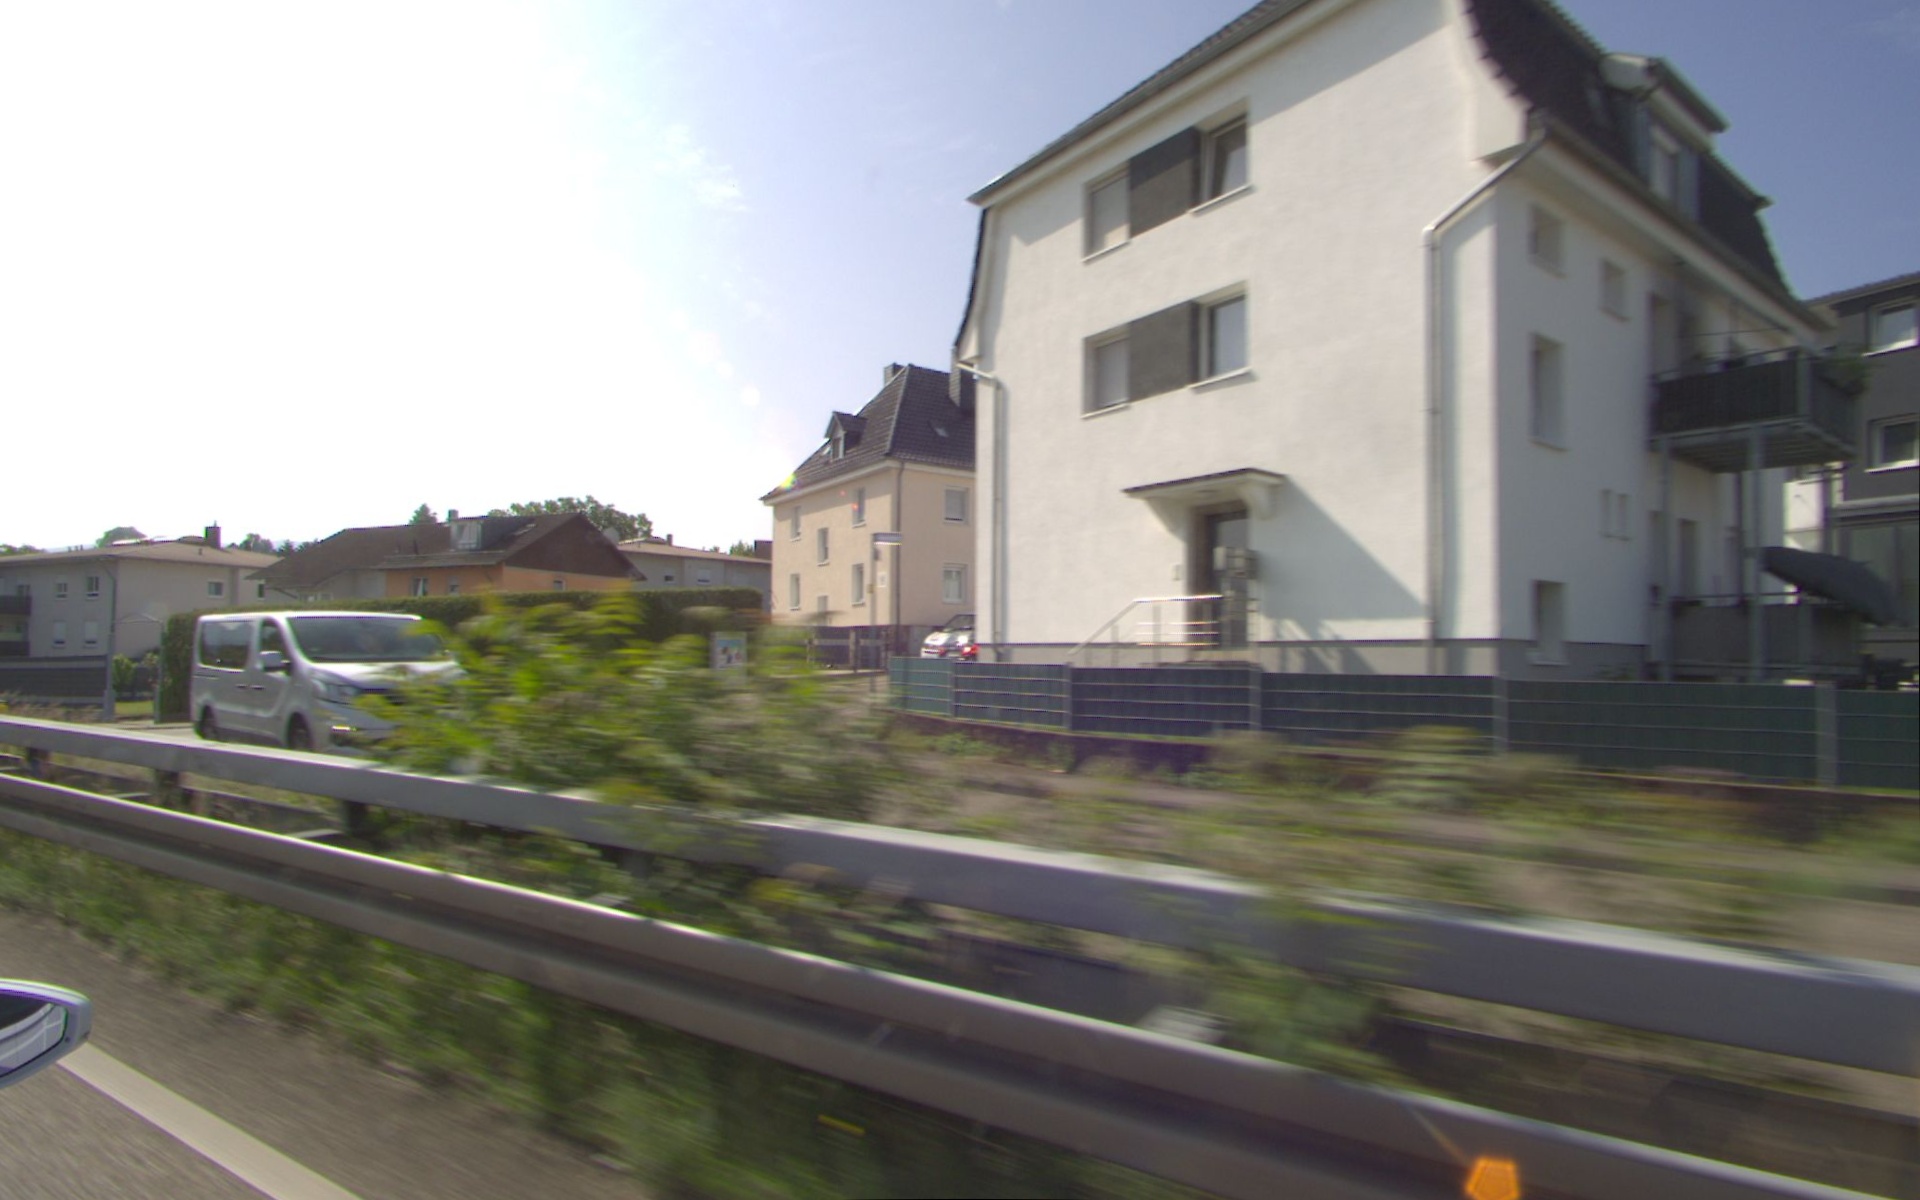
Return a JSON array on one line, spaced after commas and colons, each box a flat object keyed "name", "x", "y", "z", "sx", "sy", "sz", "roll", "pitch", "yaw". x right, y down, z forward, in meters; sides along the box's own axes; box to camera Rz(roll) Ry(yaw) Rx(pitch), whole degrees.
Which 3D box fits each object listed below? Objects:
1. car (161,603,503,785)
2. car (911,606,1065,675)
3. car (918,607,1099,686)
[{"name": "car", "x": -8.418, "y": 1.069, "z": 13.222, "sx": 5.290, "sy": 1.970, "sz": 1.988, "roll": -1, "pitch": -2, "yaw": 36}, {"name": "car", "x": 0.968, "y": 1.292, "z": 32.808, "sx": 4.775, "sy": 2.010, "sz": 1.948, "roll": -1, "pitch": 0, "yaw": -34}, {"name": "car", "x": 1.210, "y": 1.138, "z": 24.534, "sx": 3.945, "sy": 1.684, "sz": 1.991, "roll": -1, "pitch": -4, "yaw": -32}]
